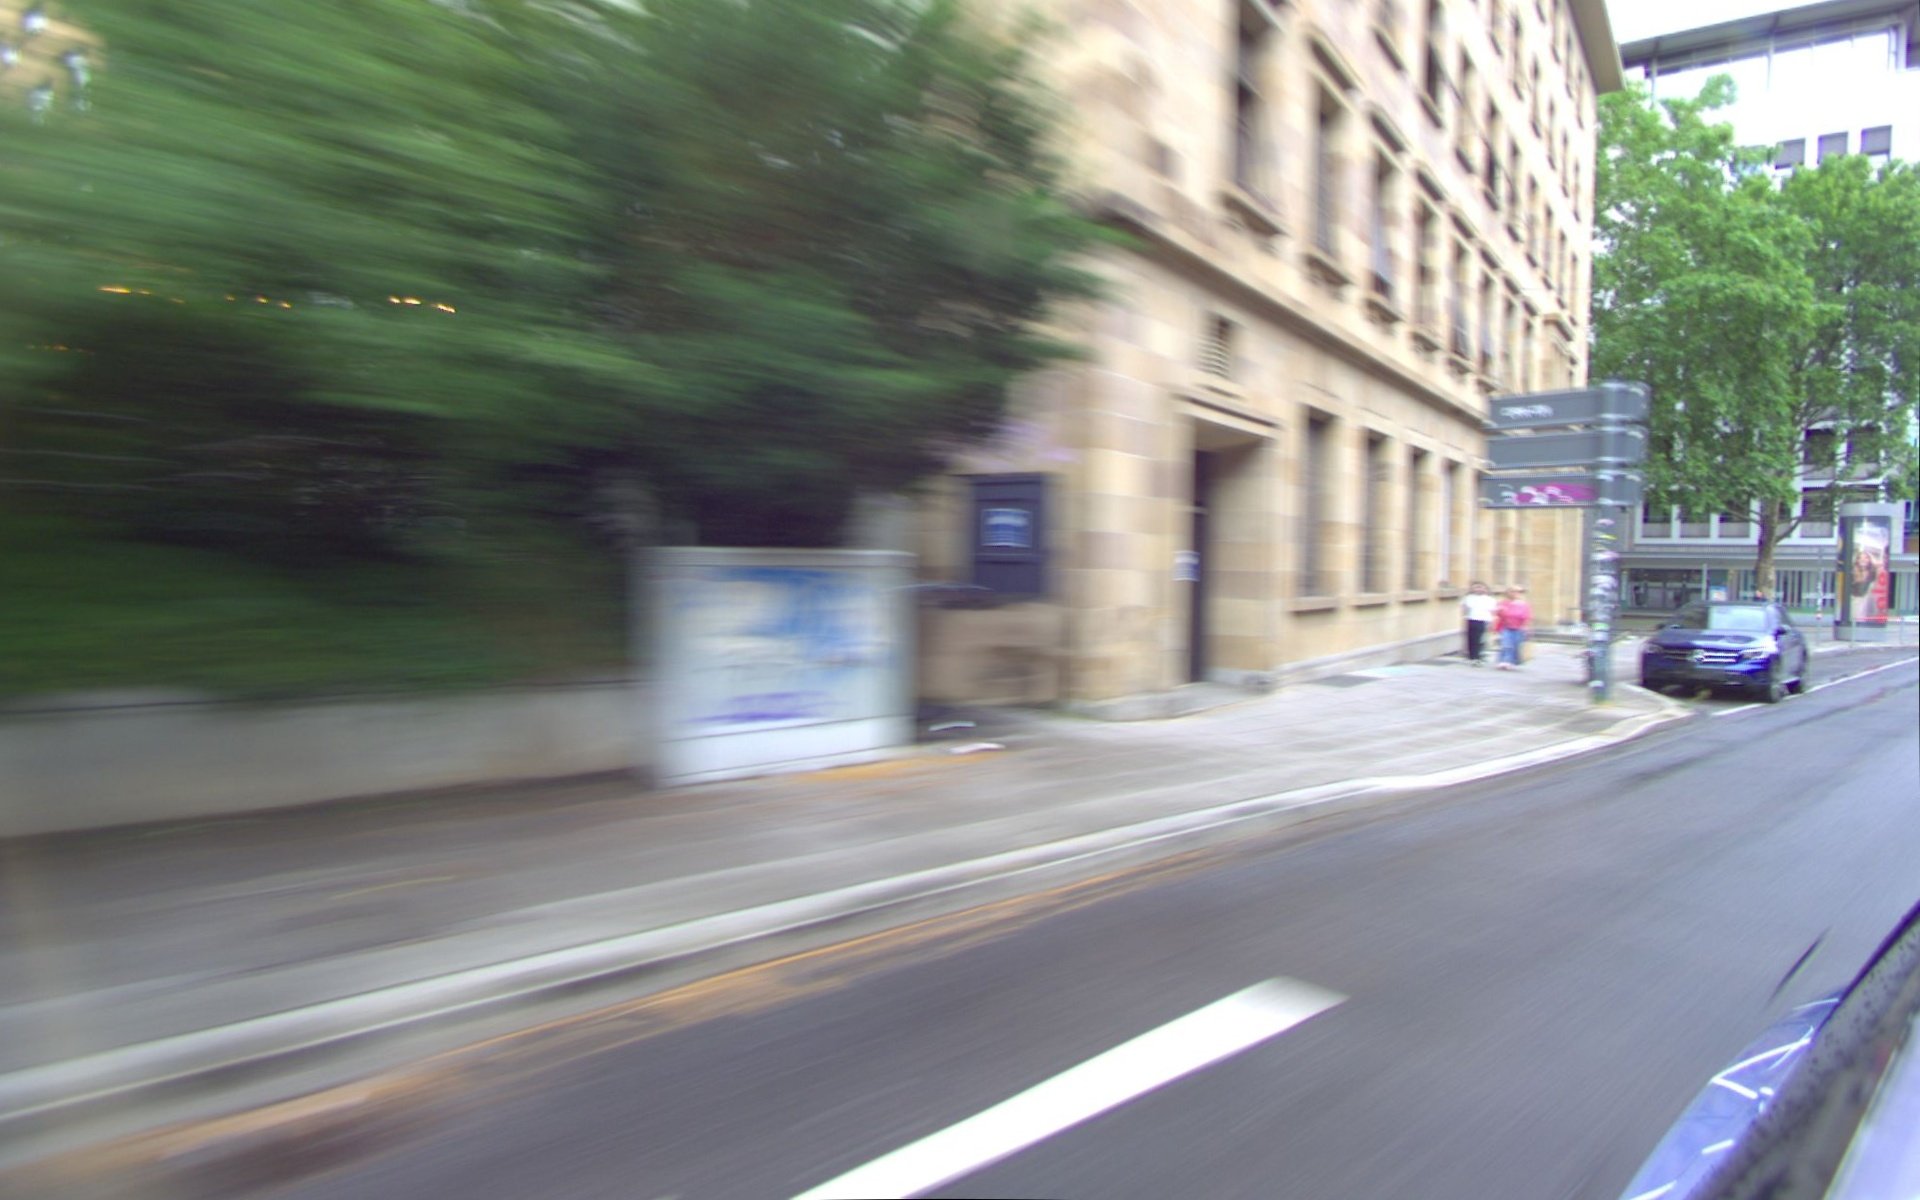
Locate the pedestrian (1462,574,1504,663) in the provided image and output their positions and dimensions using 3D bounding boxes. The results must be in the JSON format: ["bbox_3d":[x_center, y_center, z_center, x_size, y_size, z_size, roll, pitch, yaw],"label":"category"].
[{"bbox_3d":[9.912,0.336,19.171,0.524,1.622,0.664,2,2,42],"label":"pedestrian"}]

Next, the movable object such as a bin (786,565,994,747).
[{"bbox_3d":[-0.605,0.413,8.559,1.212,1.326,1.242,0,4,-40],"label":"movable object such as a bin"}]

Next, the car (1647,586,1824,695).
[{"bbox_3d":[13.662,0.598,17.743,4.087,1.639,1.771,-1,2,-43],"label":"car"}]

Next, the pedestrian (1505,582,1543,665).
[{"bbox_3d":[10.585,0.429,18.976,0.523,1.510,0.665,2,2,35],"label":"pedestrian"}]

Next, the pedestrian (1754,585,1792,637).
[{"bbox_3d":[28.836,0.368,35.906,0.846,1.794,0.782,1,2,-35],"label":"pedestrian"}]
